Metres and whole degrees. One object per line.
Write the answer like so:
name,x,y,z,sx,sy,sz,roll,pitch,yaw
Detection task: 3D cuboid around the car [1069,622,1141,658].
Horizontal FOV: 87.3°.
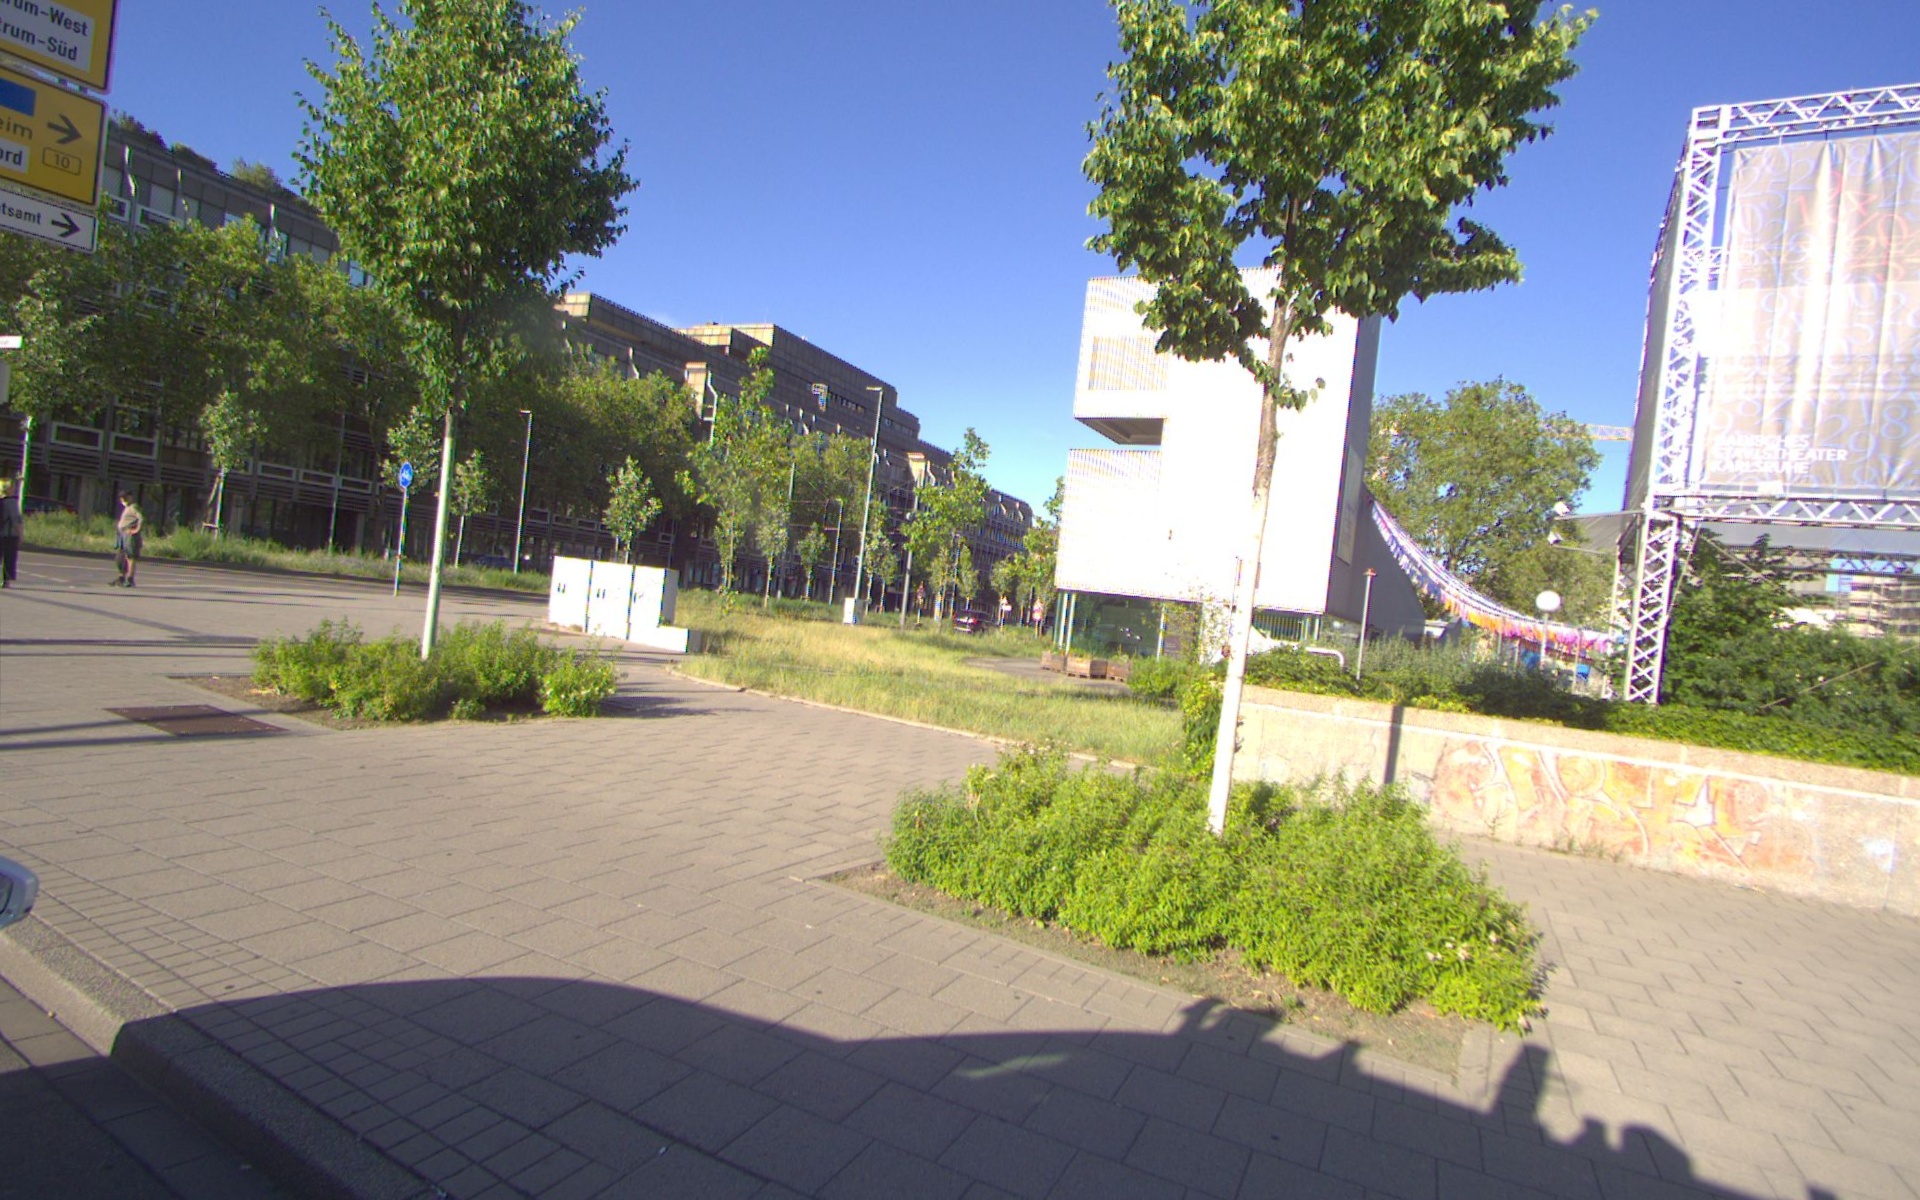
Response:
car,10.232,2.822,70.670,5.284,1.845,1.827,9,-2,-40

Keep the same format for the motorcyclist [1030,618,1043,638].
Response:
motorcyclist,5.955,2.190,78.490,0.636,1.441,0.658,8,1,24

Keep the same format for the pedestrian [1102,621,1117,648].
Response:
pedestrian,9.115,2.119,61.207,0.520,1.571,0.638,7,-1,31

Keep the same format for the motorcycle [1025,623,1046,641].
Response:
motorcycle,5.915,2.516,78.550,0.716,1.223,2.602,8,0,24

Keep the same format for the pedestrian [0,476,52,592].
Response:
pedestrian,-14.218,-1.009,14.927,0.859,1.634,0.767,7,1,30

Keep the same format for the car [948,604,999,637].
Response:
car,0.975,1.398,67.331,1.851,1.886,4.833,7,-1,18

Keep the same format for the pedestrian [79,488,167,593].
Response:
pedestrian,-14.903,-1.051,17.919,0.755,1.728,0.873,7,1,30

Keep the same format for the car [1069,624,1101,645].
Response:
car,11.228,3.114,90.081,1.642,1.528,3.871,7,-1,25

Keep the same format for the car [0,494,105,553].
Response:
car,-33.262,-2.790,35.462,1.792,1.704,4.302,7,-1,21
